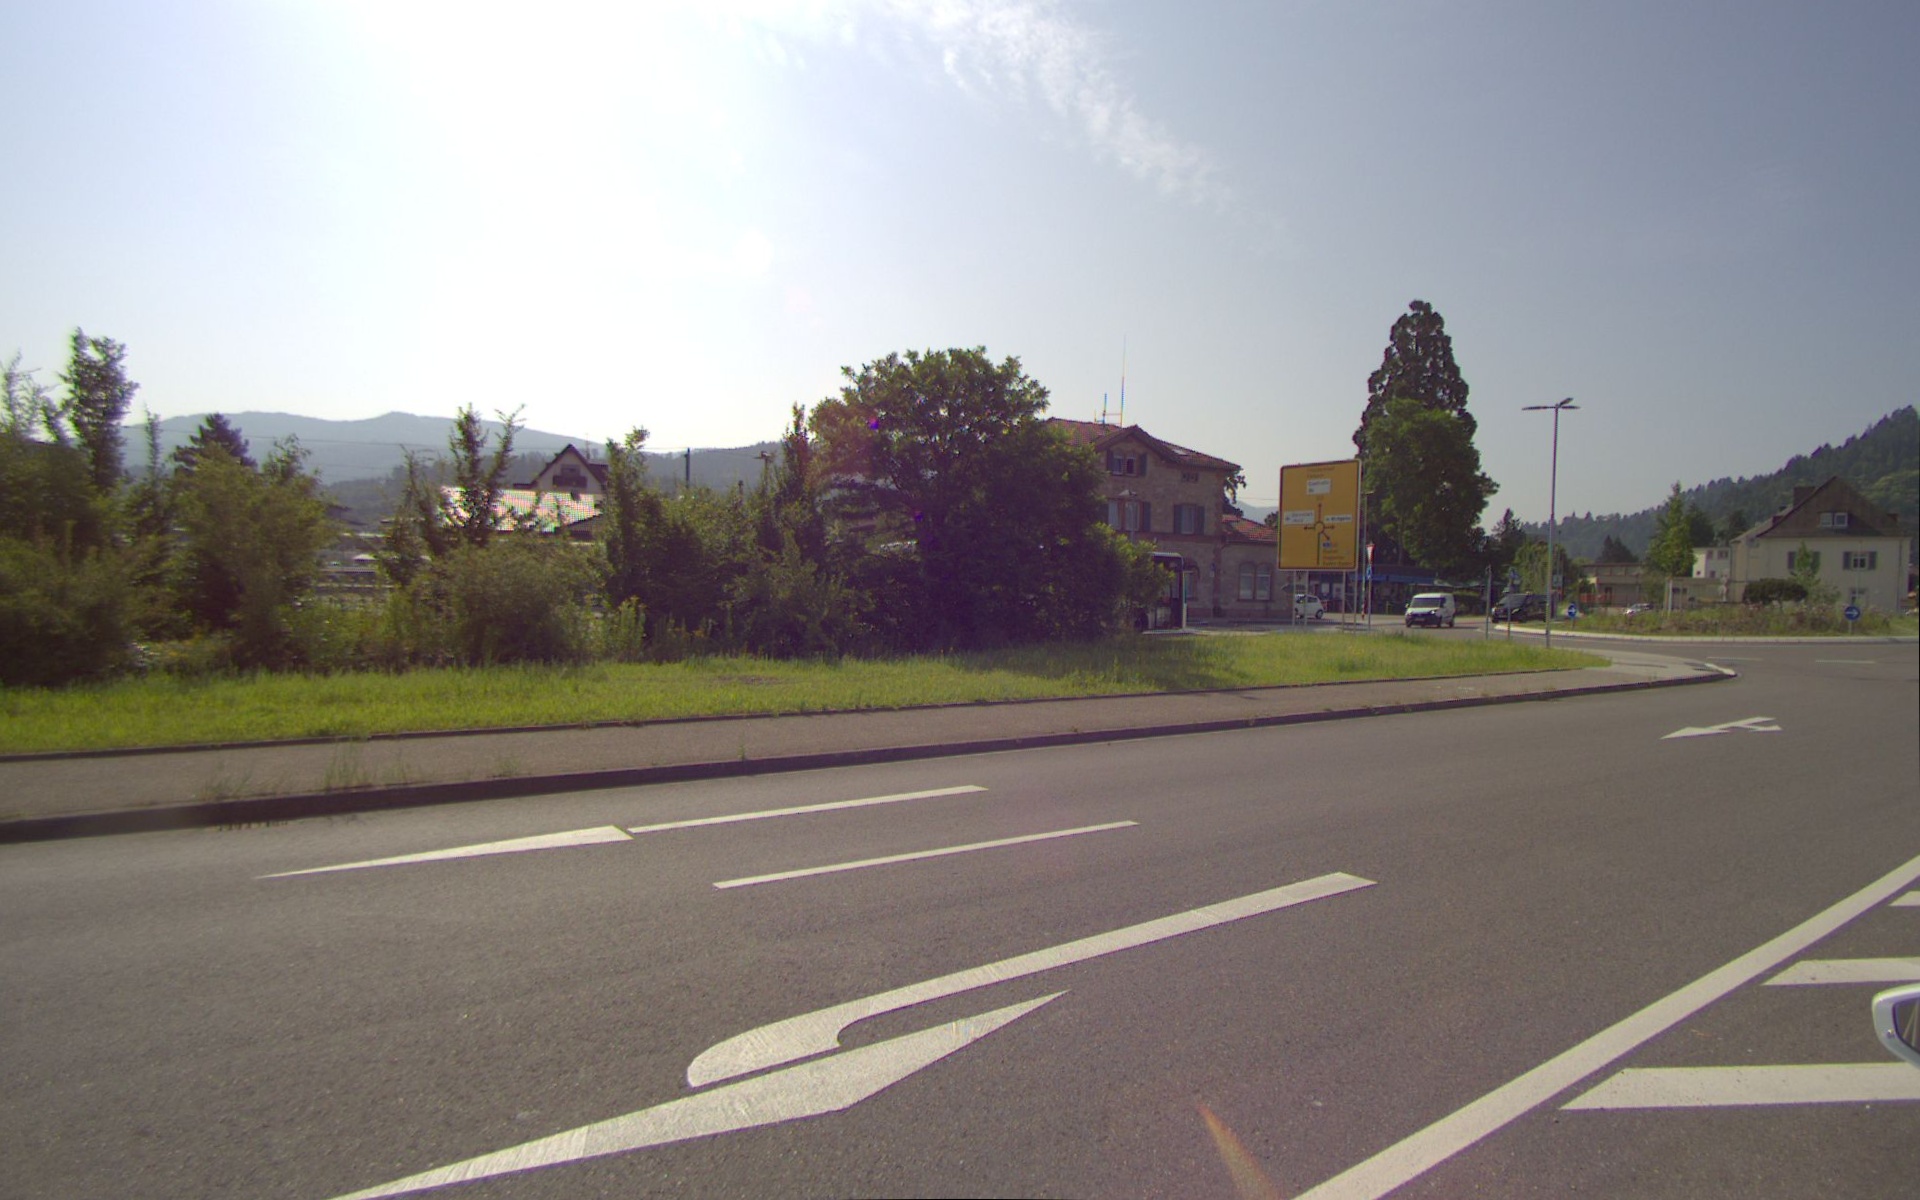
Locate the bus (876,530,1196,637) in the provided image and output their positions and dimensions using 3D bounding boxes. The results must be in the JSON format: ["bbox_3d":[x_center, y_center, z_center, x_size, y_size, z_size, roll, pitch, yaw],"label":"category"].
[{"bbox_3d":[2.913,-0.491,34.211,11.604,3.165,3.044,0,1,-35],"label":"bus"}]

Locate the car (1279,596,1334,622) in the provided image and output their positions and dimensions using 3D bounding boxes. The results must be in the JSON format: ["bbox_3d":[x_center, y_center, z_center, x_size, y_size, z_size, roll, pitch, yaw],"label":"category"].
[{"bbox_3d":[22.481,0.574,65.177,3.495,1.469,1.382,4,0,-29],"label":"car"}]

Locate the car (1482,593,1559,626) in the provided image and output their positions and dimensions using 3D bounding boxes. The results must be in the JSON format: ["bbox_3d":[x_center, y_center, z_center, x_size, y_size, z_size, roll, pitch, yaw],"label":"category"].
[{"bbox_3d":[35.713,0.605,63.970,4.818,1.971,1.833,1,0,-26],"label":"car"}]

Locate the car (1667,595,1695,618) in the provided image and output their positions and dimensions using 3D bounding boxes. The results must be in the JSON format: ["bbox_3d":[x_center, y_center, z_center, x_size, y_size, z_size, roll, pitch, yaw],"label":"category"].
[{"bbox_3d":[64.484,0.541,89.808,1.787,2.041,3.982,1,1,38],"label":"car"}]

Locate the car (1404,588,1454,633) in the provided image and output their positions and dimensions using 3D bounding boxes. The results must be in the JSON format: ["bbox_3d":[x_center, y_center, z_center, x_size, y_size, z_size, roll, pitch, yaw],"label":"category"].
[{"bbox_3d":[25.661,0.517,54.893,1.781,2.106,4.590,2,4,34],"label":"car"}]
